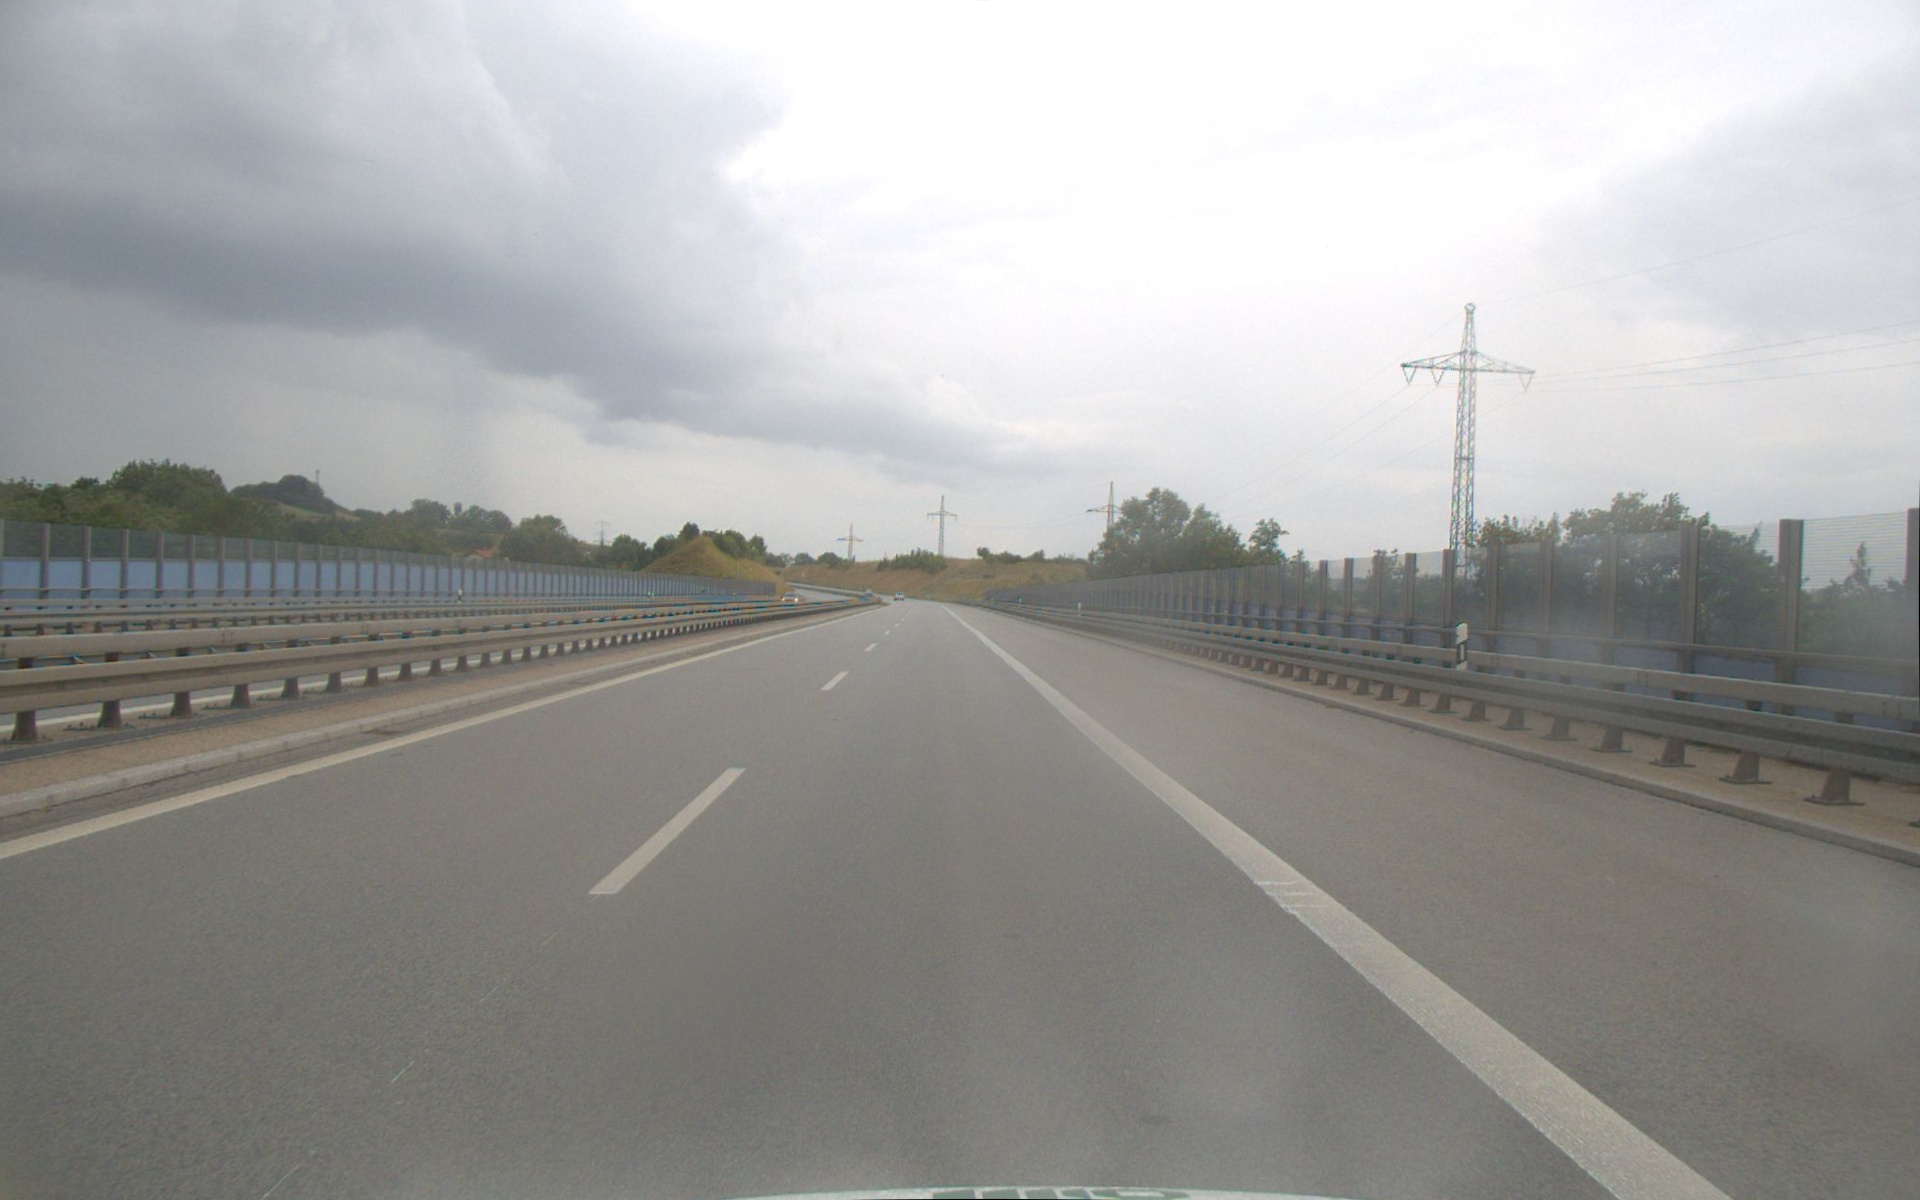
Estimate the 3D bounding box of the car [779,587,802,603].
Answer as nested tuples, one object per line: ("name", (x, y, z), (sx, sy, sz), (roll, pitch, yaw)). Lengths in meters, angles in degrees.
("car", (-17.339, -0.528, 169.610), (1.953, 1.541, 4.287), (1, 0, -1))
